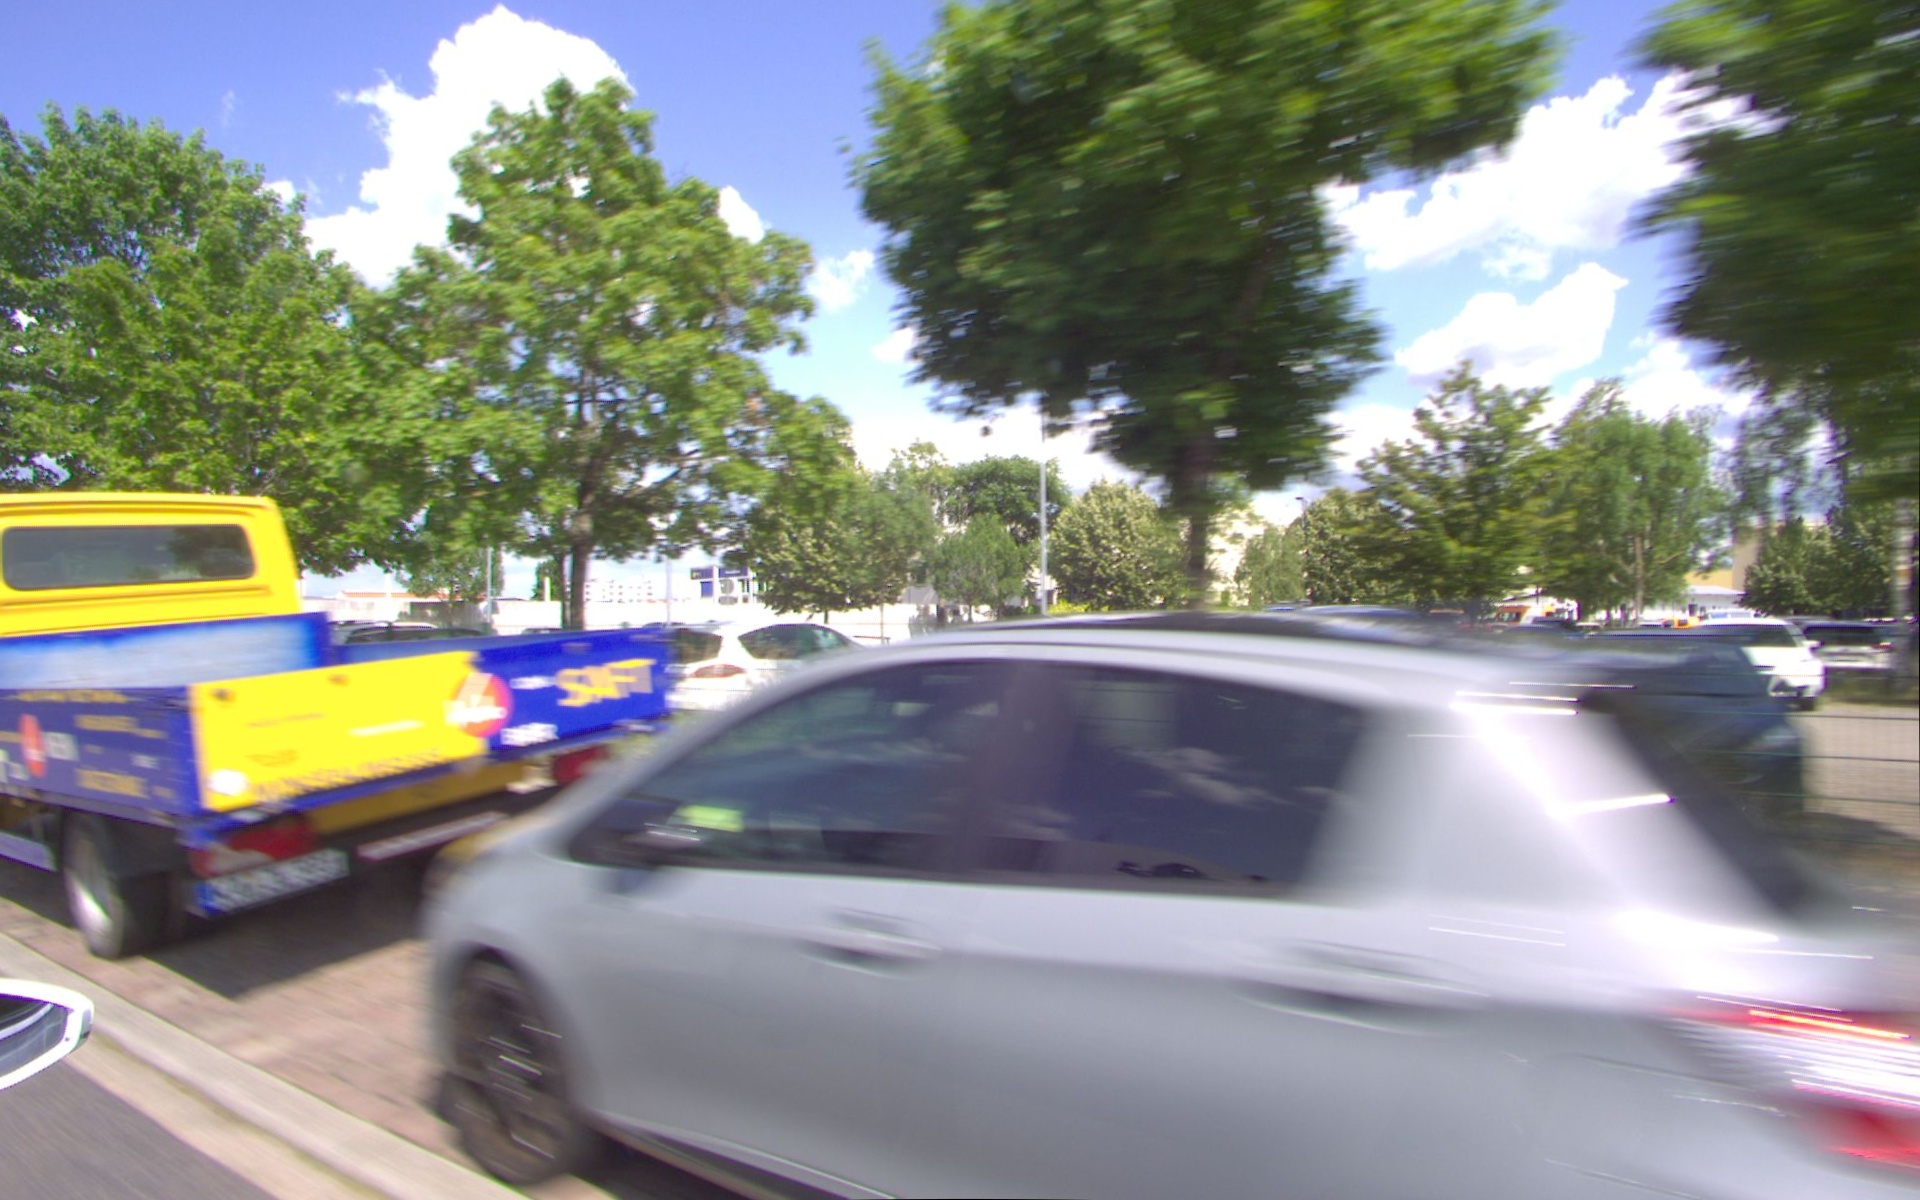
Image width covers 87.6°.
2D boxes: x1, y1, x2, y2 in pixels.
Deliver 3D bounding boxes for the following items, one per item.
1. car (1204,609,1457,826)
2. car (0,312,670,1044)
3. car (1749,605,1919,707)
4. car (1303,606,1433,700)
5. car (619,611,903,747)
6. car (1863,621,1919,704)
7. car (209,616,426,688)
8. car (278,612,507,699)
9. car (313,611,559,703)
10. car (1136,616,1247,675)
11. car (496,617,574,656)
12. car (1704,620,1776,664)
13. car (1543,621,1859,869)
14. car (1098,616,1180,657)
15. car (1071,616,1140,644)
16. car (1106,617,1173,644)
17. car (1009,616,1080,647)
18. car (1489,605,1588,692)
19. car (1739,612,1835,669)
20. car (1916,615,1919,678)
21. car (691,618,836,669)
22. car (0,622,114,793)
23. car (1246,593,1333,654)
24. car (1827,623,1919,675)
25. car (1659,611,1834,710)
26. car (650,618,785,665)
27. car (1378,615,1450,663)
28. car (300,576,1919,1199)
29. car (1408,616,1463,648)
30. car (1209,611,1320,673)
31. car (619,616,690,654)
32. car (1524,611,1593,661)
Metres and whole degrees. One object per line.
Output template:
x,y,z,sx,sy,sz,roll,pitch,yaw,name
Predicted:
3.954,0.953,10.185,1.828,1.693,4.322,-1,-1,28,car
-4.804,0.333,6.199,6.551,2.497,2.150,-1,0,35,car
18.623,1.148,21.505,1.968,1.960,4.078,-1,-2,29,car
8.284,1.004,20.096,1.811,1.661,4.474,0,-2,30,car
-2.714,1.007,14.711,1.736,1.642,4.312,-1,0,29,car
21.176,1.305,21.444,1.828,1.687,3.984,-1,-2,29,car
-15.861,1.237,24.894,1.888,1.614,4.189,-1,-1,41,car
-11.999,1.106,21.350,1.888,1.658,3.856,-1,-1,41,car
-10.129,1.036,19.545,1.888,1.614,3.856,-1,-1,41,car
6.869,1.316,29.461,1.971,1.576,4.262,-1,-2,31,car
-17.300,1.492,40.637,1.976,1.486,4.238,2,-3,-36,car
33.662,1.850,43.313,1.971,1.792,3.982,-1,-3,32,car
6.121,0.989,8.756,1.604,1.515,4.321,-1,0,28,car
7.439,1.501,41.323,1.971,1.576,4.262,-1,-2,31,car
8.561,1.801,59.167,1.887,1.613,3.860,2,-3,-36,car
10.880,1.848,60.897,1.730,1.569,3.975,0,-2,-34,car
4.695,1.797,56.079,1.887,1.613,3.860,2,-3,-36,car
14.237,1.166,24.792,1.968,1.960,4.078,-1,-2,29,car
28.060,1.411,34.114,1.971,1.824,3.982,-1,-3,32,car
39.950,1.815,39.004,2.709,2.631,5.772,-1,-3,32,car
-5.830,1.269,30.010,1.825,1.414,3.981,-1,-2,44,car
-10.783,1.036,10.342,5.099,1.497,1.869,-1,1,35,car
12.565,0.969,37.954,2.080,2.130,4.921,-1,-3,31,car
26.776,1.376,28.896,1.871,1.392,3.984,-1,-2,29,car
13.125,0.956,16.965,1.703,1.455,4.157,0,-2,29,car
-7.716,1.294,32.062,1.992,1.414,3.732,-1,-2,44,car
16.062,1.408,35.295,1.863,1.576,3.983,-1,-3,31,car
-0.010,0.763,2.811,3.894,1.514,1.681,-1,0,34,car
22.731,1.559,47.752,1.971,1.417,4.263,0,-3,31,car
8.542,1.163,27.872,1.971,1.576,4.262,-1,-2,31,car
-13.406,1.546,43.842,1.719,1.569,3.971,0,-2,-37,car
20.015,1.243,33.515,1.863,1.576,3.983,-1,-3,31,car
